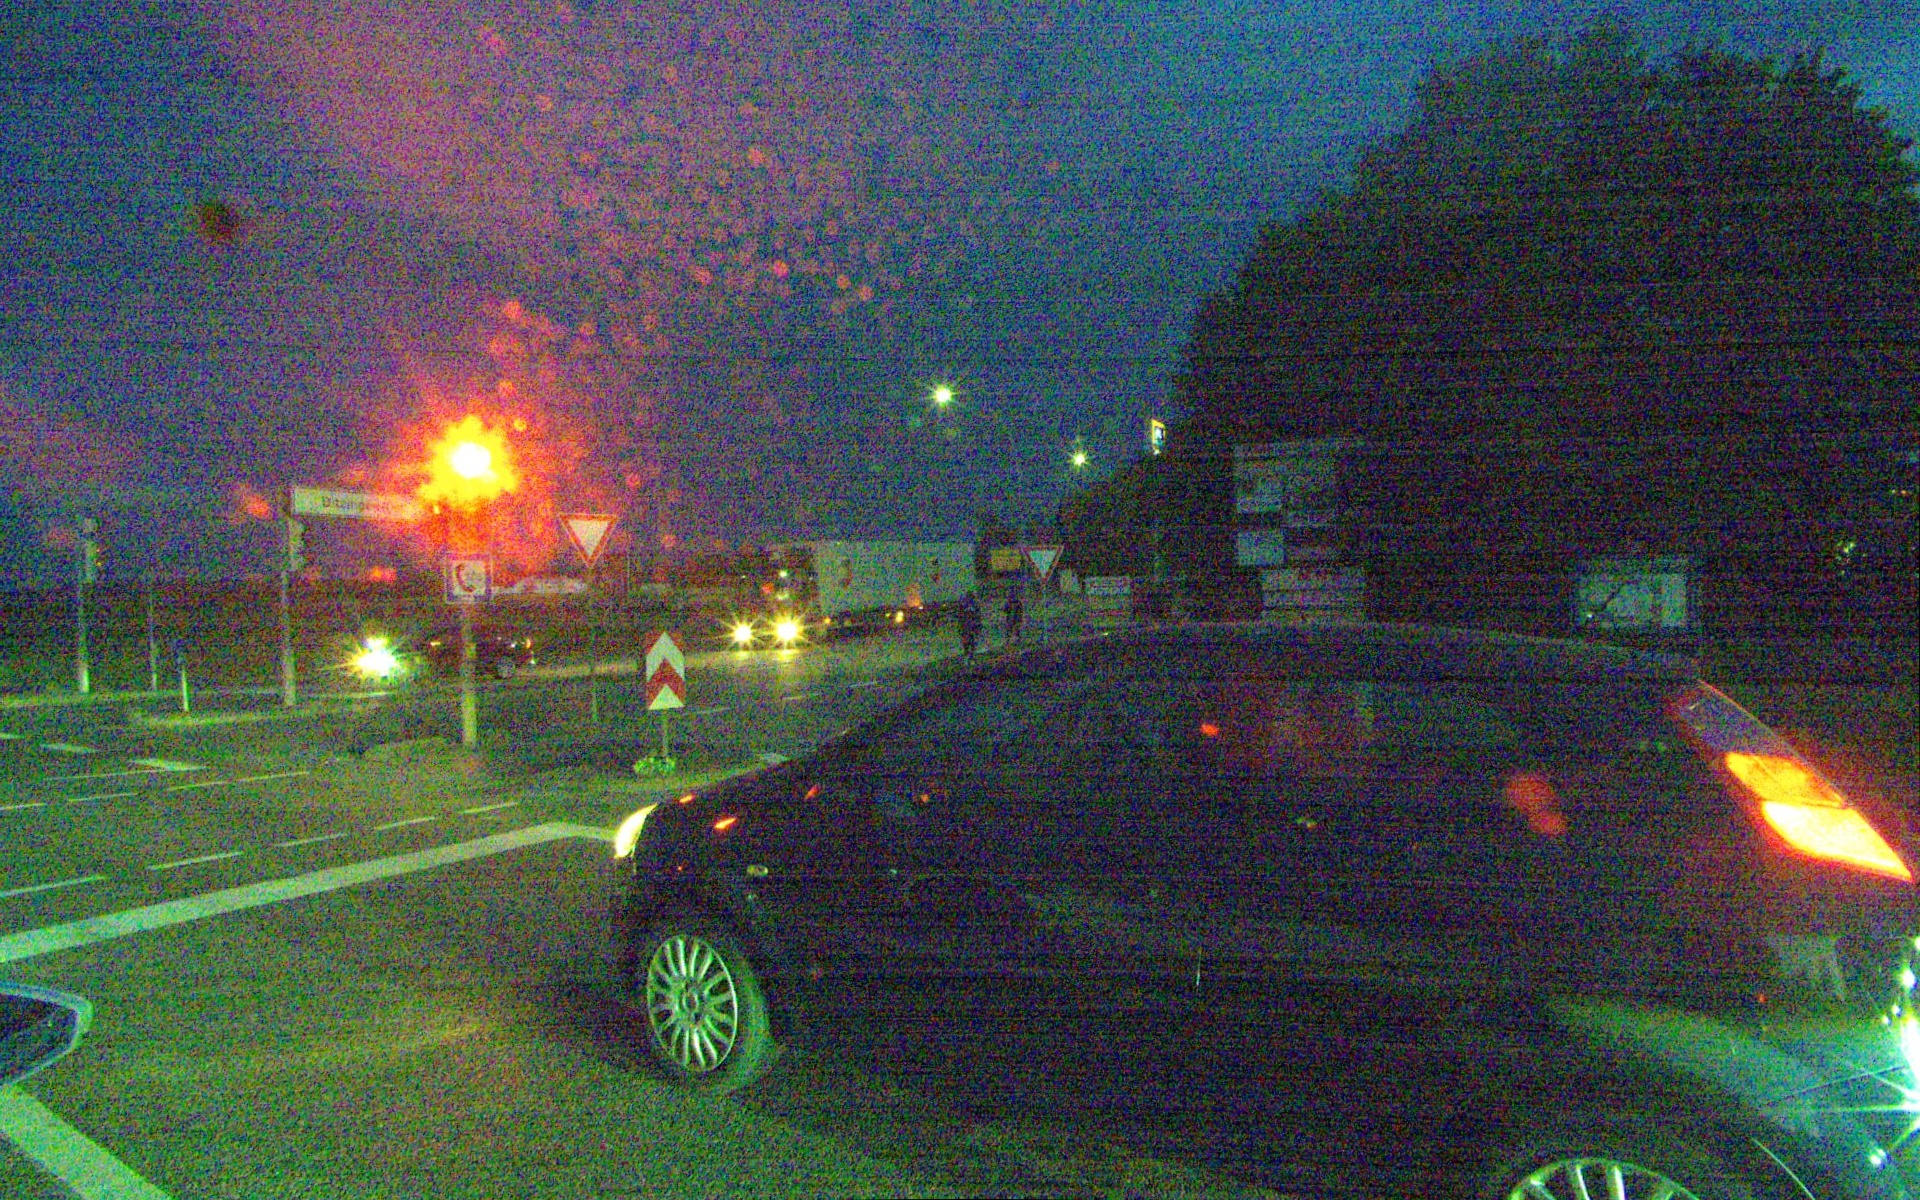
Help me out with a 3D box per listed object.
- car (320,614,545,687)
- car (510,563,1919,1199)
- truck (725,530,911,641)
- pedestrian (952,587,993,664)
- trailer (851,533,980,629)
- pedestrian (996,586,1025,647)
[{"bbox_3d":[-13.037,1.168,25.036,1.972,1.541,4.589,-1,1,33],"label":"car"},{"bbox_3d":[0.489,0.753,3.221,4.049,1.540,1.666,-1,-1,34],"label":"car"},{"bbox_3d":[-5.513,-0.585,41.593,2.876,4.033,10.042,-1,1,23],"label":"truck"},{"bbox_3d":[0.309,0.638,25.085,0.861,1.859,0.731,-3,1,6],"label":"pedestrian"},{"bbox_3d":[-1.992,-1.061,50.314,2.875,4.361,9.043,-1,2,22],"label":"trailer"},{"bbox_3d":[1.608,0.511,31.888,0.860,1.925,0.660,-1,1,6],"label":"pedestrian"}]
